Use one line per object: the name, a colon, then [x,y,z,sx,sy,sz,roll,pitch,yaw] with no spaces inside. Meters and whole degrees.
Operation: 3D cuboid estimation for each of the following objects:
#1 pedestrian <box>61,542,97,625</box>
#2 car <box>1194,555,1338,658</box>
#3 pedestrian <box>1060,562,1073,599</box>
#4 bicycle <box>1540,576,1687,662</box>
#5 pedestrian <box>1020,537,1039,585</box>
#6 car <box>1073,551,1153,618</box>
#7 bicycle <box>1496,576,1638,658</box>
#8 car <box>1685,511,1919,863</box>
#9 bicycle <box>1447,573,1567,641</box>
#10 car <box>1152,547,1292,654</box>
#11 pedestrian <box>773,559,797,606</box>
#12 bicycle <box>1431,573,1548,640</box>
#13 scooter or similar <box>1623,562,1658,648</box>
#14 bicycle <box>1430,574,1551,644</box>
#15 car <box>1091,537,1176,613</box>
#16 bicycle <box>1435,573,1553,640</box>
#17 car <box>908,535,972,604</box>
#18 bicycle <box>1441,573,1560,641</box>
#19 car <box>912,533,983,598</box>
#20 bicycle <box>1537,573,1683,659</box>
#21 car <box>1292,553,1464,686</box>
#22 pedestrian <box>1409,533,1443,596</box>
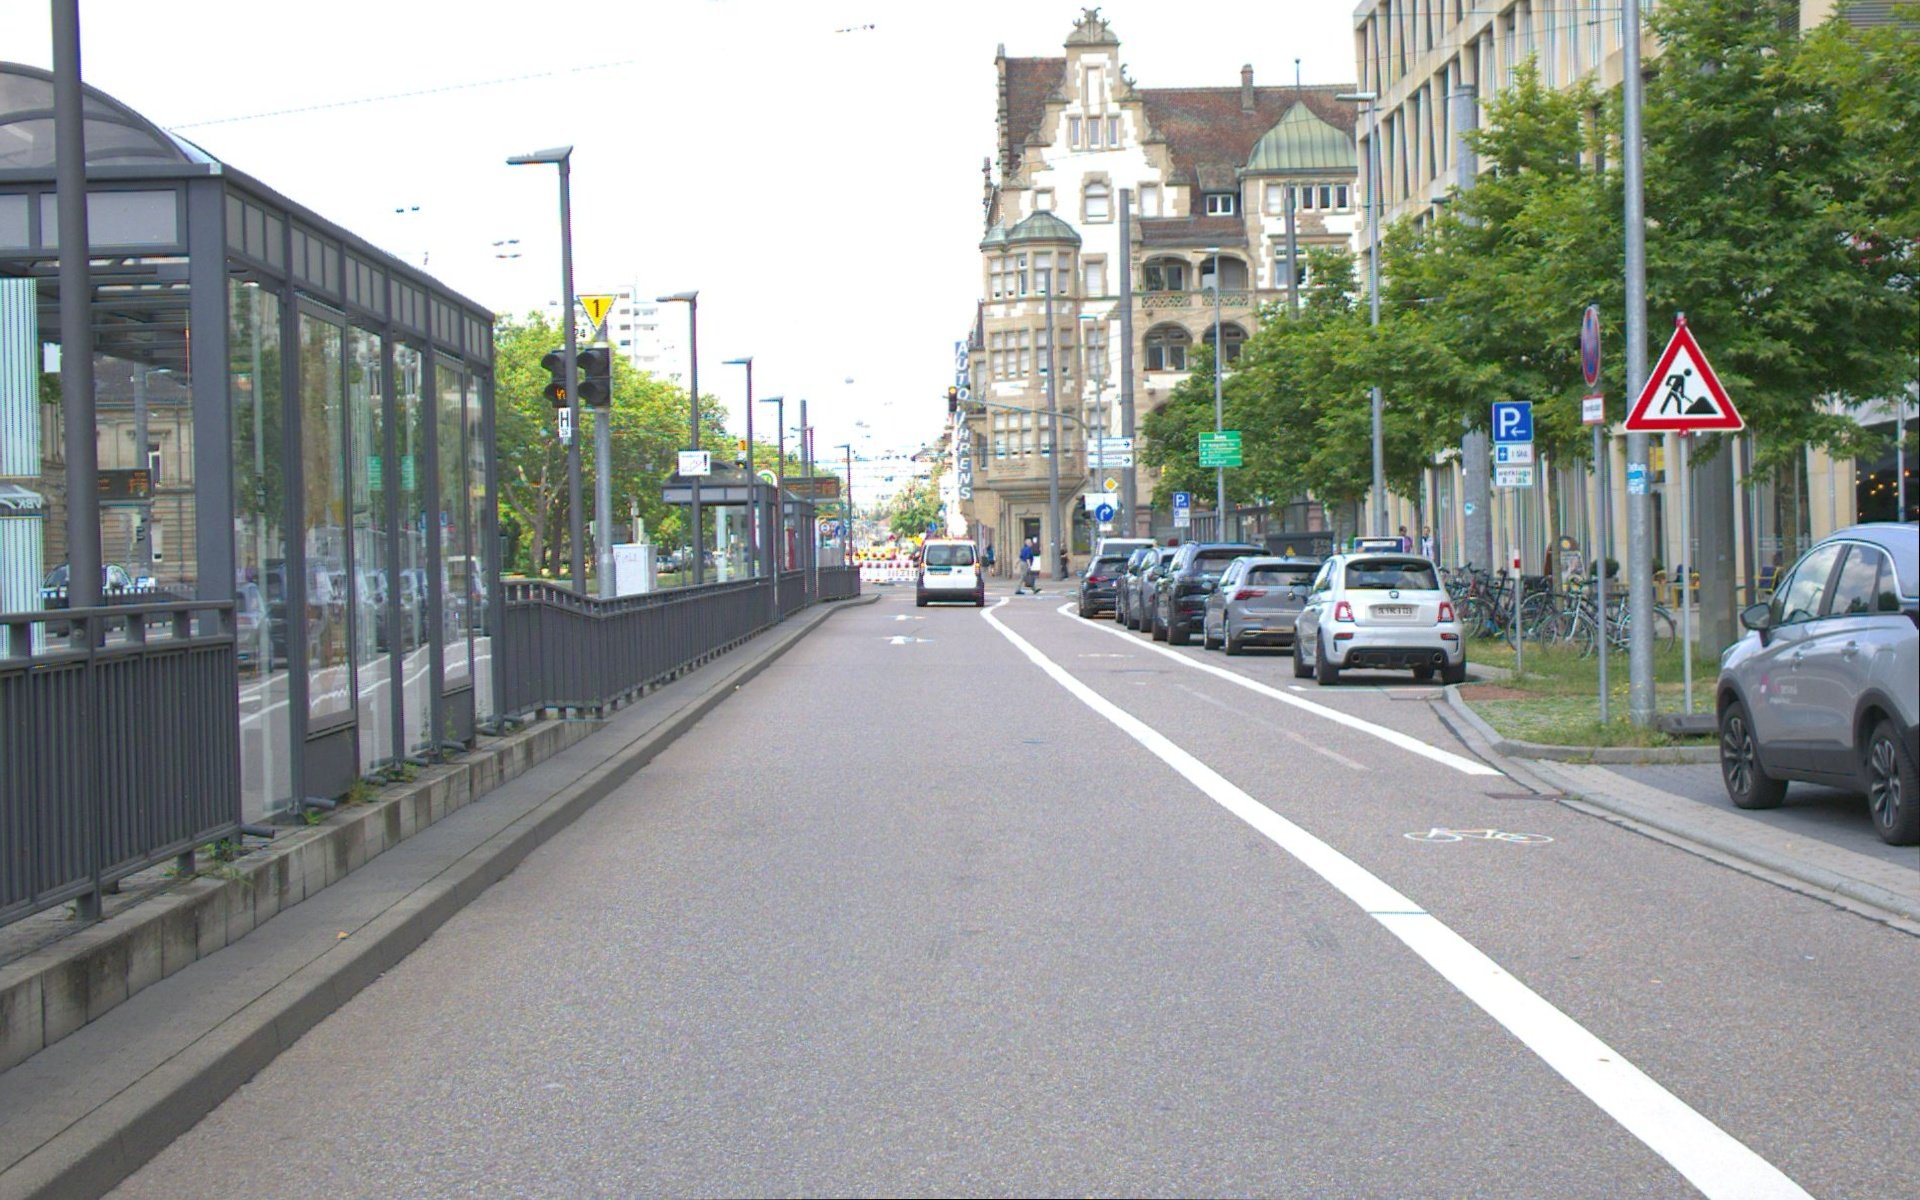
pedestrian: [-18.020,-0.342,70.324,0.500,1.677,0.643,-2,1,0]
car: [4.502,0.065,51.025,1.591,1.429,4.108,1,1,-2]
pedestrian: [4.709,-0.875,152.080,0.486,1.604,0.362,-3,0,-1]
bicycle: [8.406,0.243,44.249,1.824,1.072,0.275,-1,0,4]
pedestrian: [2.305,-1.293,113.801,0.534,1.567,0.542,-3,0,-2]
car: [3.427,-0.370,77.747,1.443,1.465,4.093,1,1,-2]
bicycle: [8.275,0.227,46.897,1.824,1.072,0.686,-1,1,3]
car: [5.236,0.351,18.227,1.685,1.628,3.991,-3,1,-3]
bicycle: [8.387,0.107,52.730,1.752,0.983,0.326,-2,0,-1]
car: [4.294,-0.032,56.953,1.738,1.664,4.841,1,1,-2]
pedestrian: [-4.370,-0.433,85.820,0.513,1.136,0.501,-3,1,0]
bicycle: [8.283,0.097,53.779,1.752,0.983,0.326,-2,0,-1]
scooter or similar: [9.703,0.061,49.037,0.258,1.211,1.015,-1,1,-1]
bicycle: [8.017,0.135,51.958,1.752,0.983,0.326,-2,0,-1]
car: [4.159,-0.618,82.747,1.709,1.790,3.362,1,1,-2]
bicycle: [8.291,0.101,53.431,1.752,0.983,0.326,-2,0,-1]
car: [-0.621,-0.928,102.570,1.868,2.013,4.000,0,1,-1]
bicycle: [8.346,0.104,53.072,1.752,0.983,0.326,-2,0,-1]
car: [-0.350,-0.954,93.534,1.868,1.740,4.000,0,1,-1]
bicycle: [8.417,0.202,44.550,1.824,1.072,0.275,-1,0,4]
car: [4.806,0.192,39.913,1.591,1.455,3.613,0,1,1]
pedestrian: [12.406,-0.944,91.522,0.760,1.664,0.659,-1,1,-1]
